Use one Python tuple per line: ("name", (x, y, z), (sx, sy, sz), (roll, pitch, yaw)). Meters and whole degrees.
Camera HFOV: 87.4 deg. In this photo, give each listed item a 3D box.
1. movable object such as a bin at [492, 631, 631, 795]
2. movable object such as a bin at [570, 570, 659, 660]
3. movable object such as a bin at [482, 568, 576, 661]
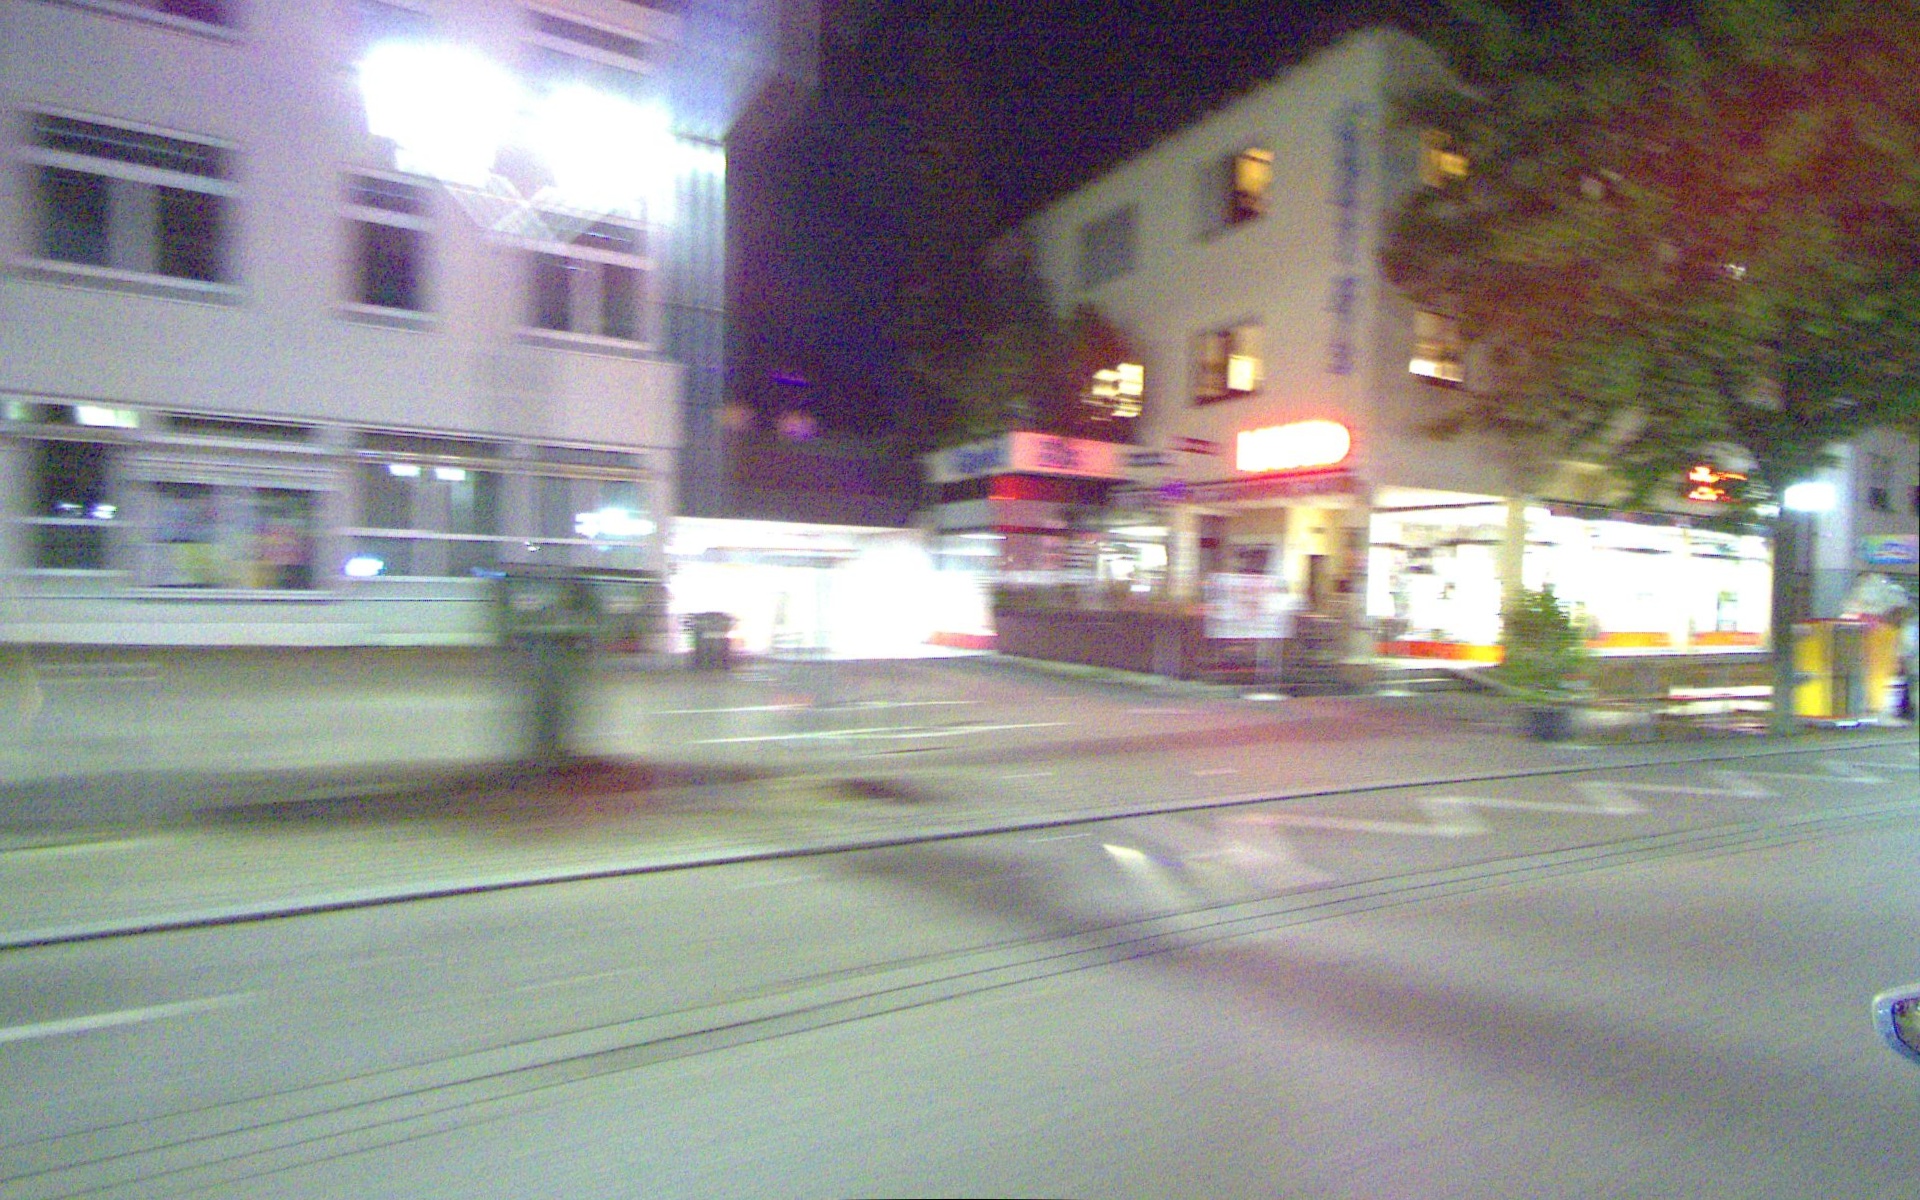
("movable object such as a bin", (-2.894, 0.786, 7.280), (0.784, 1.079, 0.742), (2, -1, -33))
("movable object such as a bin", (-5.963, 0.251, 17.307), (1.214, 1.477, 1.125), (2, 0, -31))
("movable object such as a bin", (-7.131, 0.242, 16.616), (1.272, 1.463, 1.031), (2, 0, -31))
